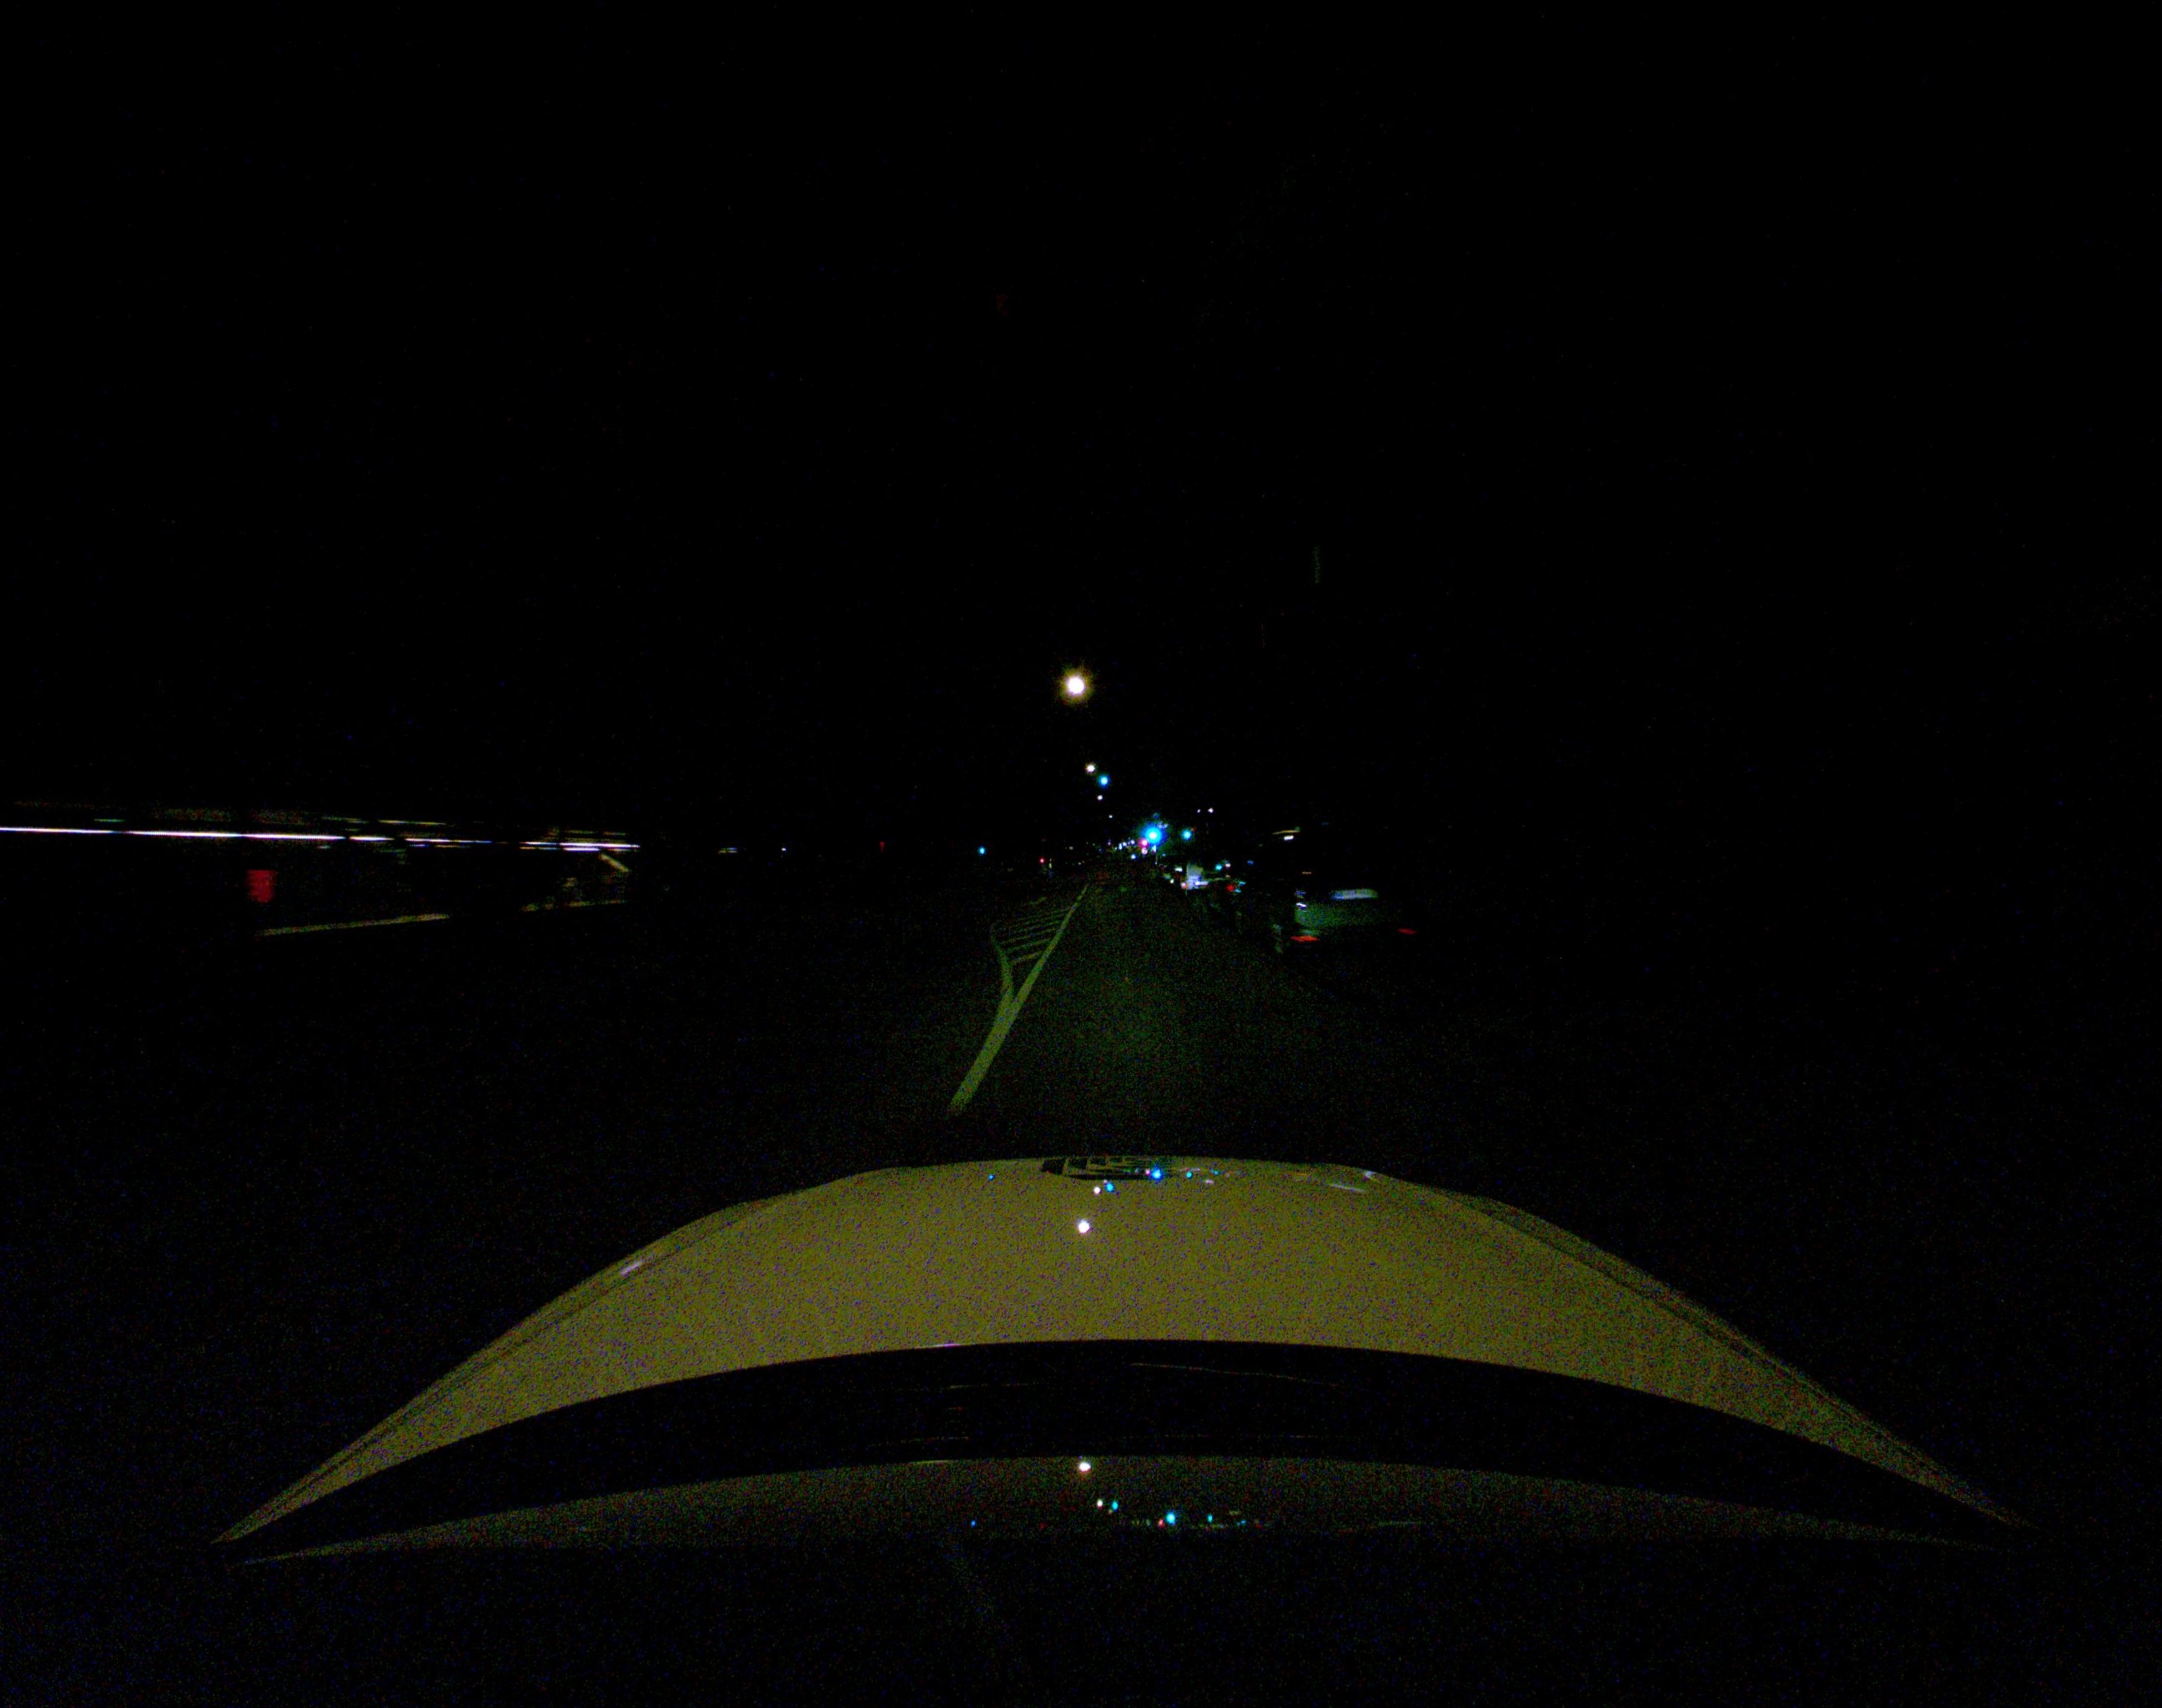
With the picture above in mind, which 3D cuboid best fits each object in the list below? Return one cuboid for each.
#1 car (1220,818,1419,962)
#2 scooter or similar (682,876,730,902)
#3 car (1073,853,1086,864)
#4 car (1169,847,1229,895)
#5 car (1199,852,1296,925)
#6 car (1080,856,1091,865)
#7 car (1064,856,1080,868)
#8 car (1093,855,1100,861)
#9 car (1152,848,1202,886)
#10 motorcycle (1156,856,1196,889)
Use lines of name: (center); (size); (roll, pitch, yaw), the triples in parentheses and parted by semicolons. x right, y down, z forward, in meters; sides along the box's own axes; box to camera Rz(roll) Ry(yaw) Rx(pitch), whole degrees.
car: (3.536, 0.478, 12.963); (1.766, 1.806, 4.276); (-4, 0, -1)
scooter or similar: (-15.029, 1.385, 32.620); (1.667, 1.008, 0.545); (0, 0, 3)
car: (-0.217, 0.651, 116.596); (1.734, 1.415, 3.754); (-2, 1, 2)
car: (4.240, 0.584, 29.794); (1.585, 1.534, 4.139); (-4, 0, 1)
car: (3.688, 0.699, 18.627); (1.514, 1.396, 3.987); (-3, 0, 3)
car: (0.737, 0.989, 130.365); (1.734, 1.416, 3.754); (-2, 0, 2)
car: (-1.082, 1.000, 101.049); (1.734, 1.416, 3.754); (-2, 0, 2)
car: (3.794, 1.043, 200.081); (1.734, 1.416, 3.754); (-2, 0, 2)
car: (4.318, 0.563, 37.289); (1.846, 1.590, 4.301); (-2, 0, 1)
motorcycle: (3.939, 0.741, 33.572); (0.630, 1.270, 2.077); (-2, 0, 36)
